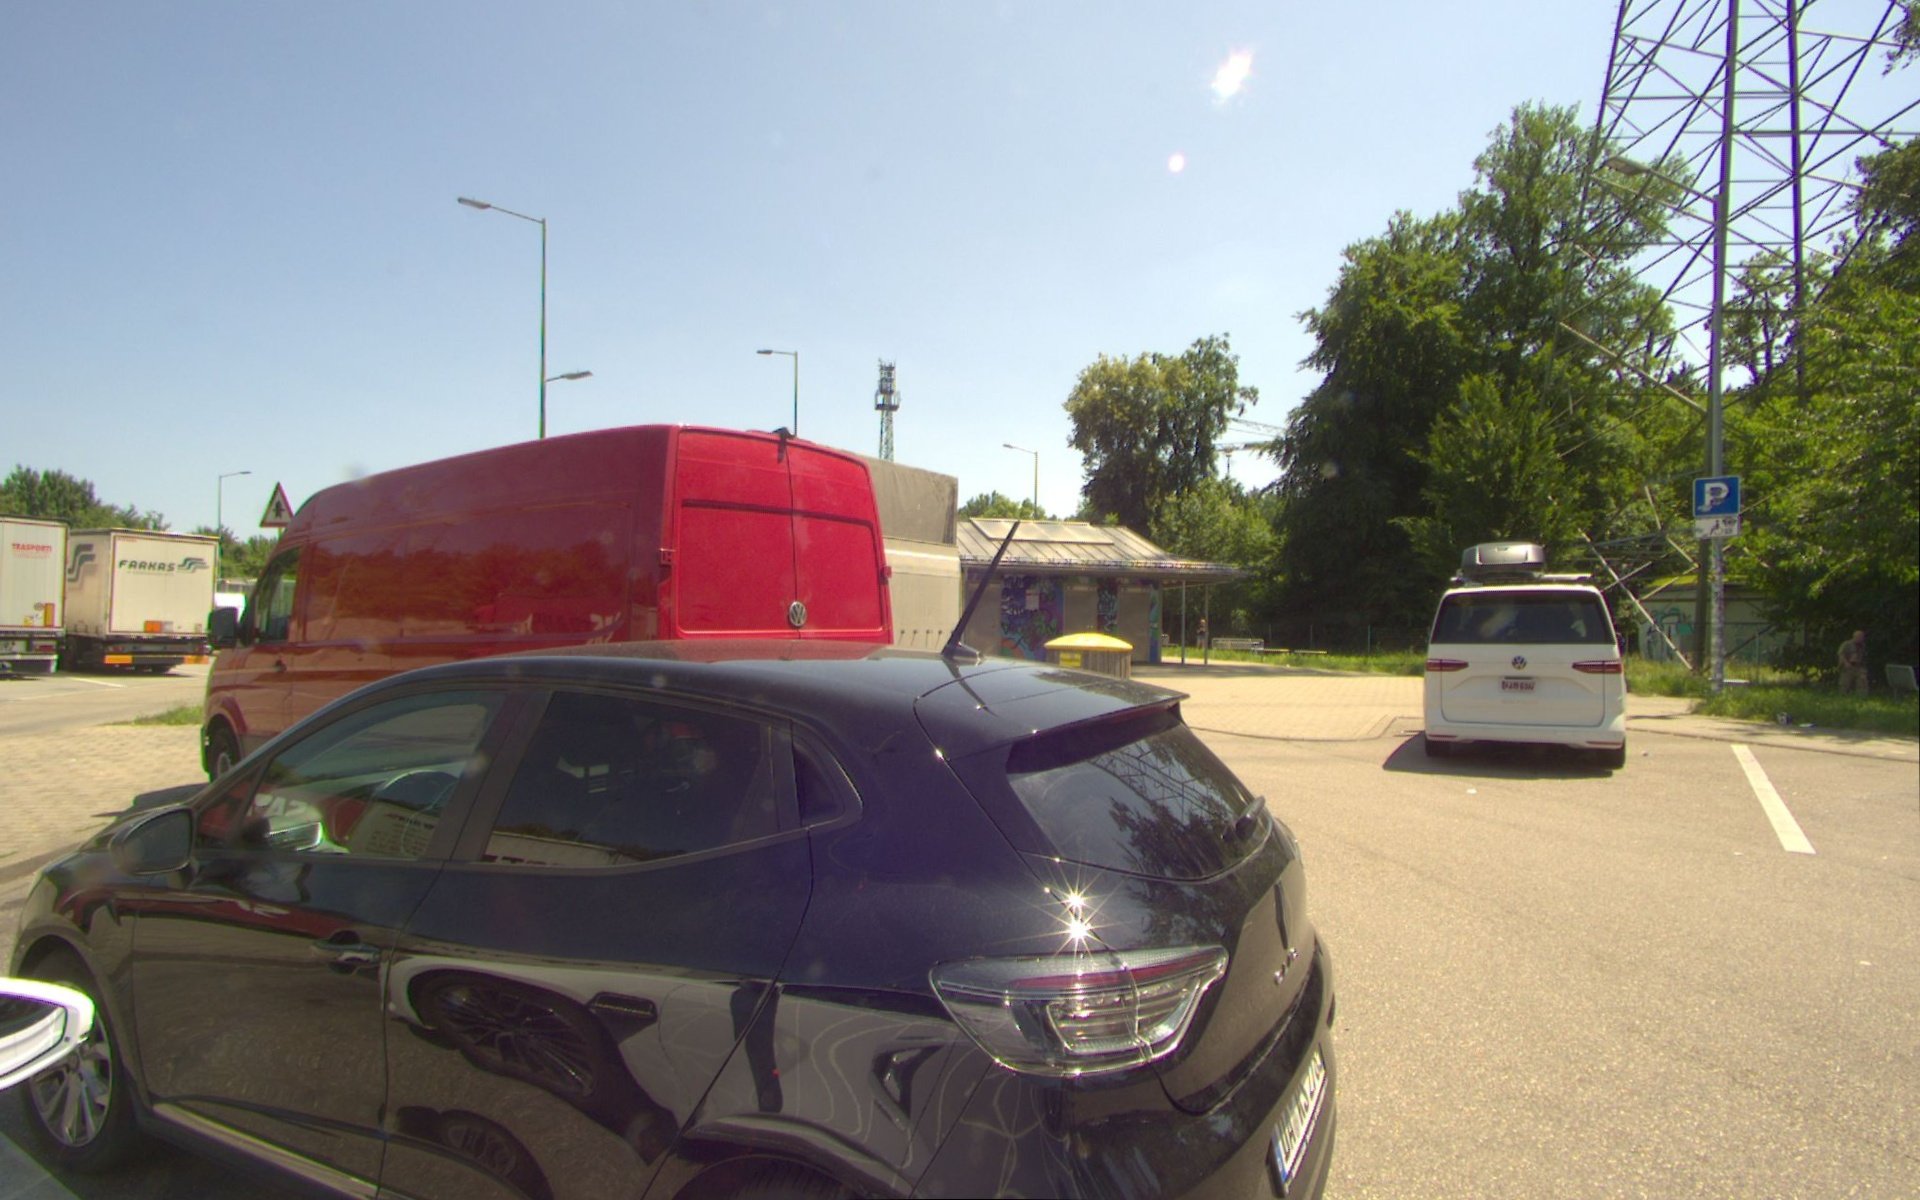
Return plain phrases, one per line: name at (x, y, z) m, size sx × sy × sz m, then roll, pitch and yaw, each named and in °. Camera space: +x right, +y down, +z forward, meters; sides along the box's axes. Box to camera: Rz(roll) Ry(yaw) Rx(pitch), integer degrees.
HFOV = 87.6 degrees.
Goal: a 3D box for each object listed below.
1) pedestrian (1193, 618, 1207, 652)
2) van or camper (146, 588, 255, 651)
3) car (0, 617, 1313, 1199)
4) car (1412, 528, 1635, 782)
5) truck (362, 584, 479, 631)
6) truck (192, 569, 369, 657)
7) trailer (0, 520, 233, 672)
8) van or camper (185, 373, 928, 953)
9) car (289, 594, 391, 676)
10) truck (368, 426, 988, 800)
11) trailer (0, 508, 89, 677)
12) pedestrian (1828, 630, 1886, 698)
pedestrian at (10.962, 1.603, 45.661) m, size 0.582 × 1.536 × 0.588 m, roll 1°, pitch 0°, yaw 12°
van or camper at (-32.792, 0.821, 43.187) m, size 5.296 × 2.595 × 2.100 m, roll 0°, pitch -1°, yaw 34°
car at (-1.059, 0.829, 2.842) m, size 3.706 × 1.503 × 1.615 m, roll 0°, pitch -1°, yaw 27°
car at (6.539, 0.559, 11.556) m, size 1.892 × 2.354 × 4.074 m, roll -1°, pitch -1°, yaw 32°
truck at (-34.729, 0.462, 64.271) m, size 9.637 × 2.857 × 2.121 m, roll 0°, pitch -1°, yaw 33°
truck at (-31.698, 0.503, 46.469) m, size 11.255 × 3.615 × 2.484 m, roll 2°, pitch -1°, yaw 33°
trailer at (-27.297, -0.202, 31.457) m, size 12.255 × 4.090 × 2.862 m, roll 2°, pitch -1°, yaw 33°
van or camper at (-3.366, 0.318, 7.349) m, size 6.394 × 2.688 × 1.990 m, roll 0°, pitch -1°, yaw 36°
car at (-18.108, 0.972, 29.134) m, size 1.977 × 2.178 × 5.271 m, roll 1°, pitch -1°, yaw -38°
truck at (-3.262, 0.127, 10.555) m, size 6.874 × 2.828 × 2.460 m, roll 0°, pitch -1°, yaw 35°
trailer at (-28.358, -0.331, 27.792) m, size 12.255 × 4.090 × 2.862 m, roll 2°, pitch -1°, yaw 33°
pedestrian at (18.908, 1.329, 21.126) m, size 0.696 × 1.392 × 0.607 m, roll 1°, pitch 0°, yaw 16°
